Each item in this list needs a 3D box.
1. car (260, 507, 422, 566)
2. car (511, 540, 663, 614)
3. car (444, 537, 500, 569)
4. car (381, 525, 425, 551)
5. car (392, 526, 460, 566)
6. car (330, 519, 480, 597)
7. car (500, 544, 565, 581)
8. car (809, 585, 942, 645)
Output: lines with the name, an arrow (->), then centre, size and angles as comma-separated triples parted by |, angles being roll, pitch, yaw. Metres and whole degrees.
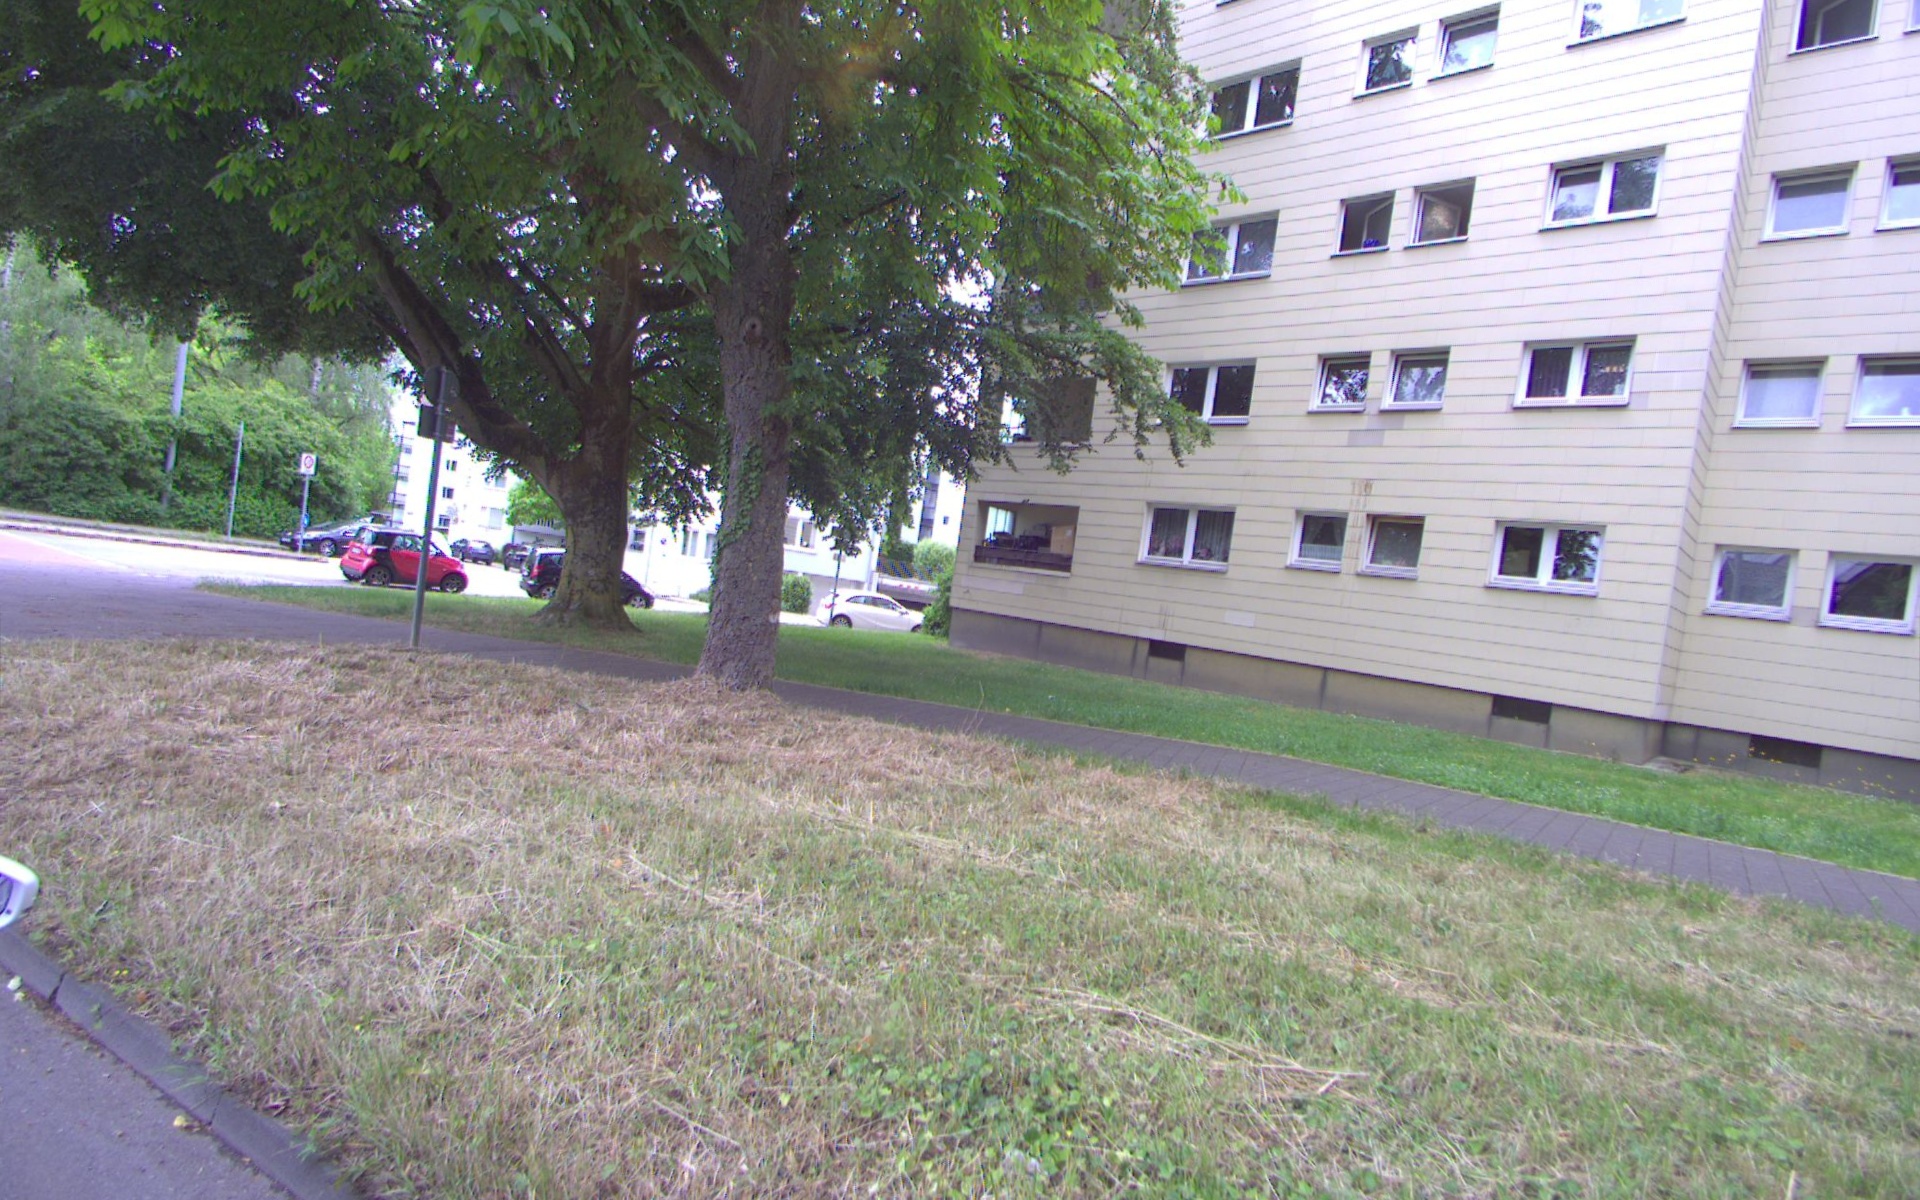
car -> -23.332, -2.370, 38.147 | 2.002, 1.456, 4.798 | 8, 0, 25
car -> -11.078, -0.671, 29.917 | 3.791, 1.610, 1.802 | 9, -1, -34
car -> -30.097, -2.897, 62.006 | 1.922, 1.563, 4.016 | 8, -1, -42
car -> -41.444, -4.600, 74.795 | 1.922, 1.563, 4.016 | 8, -1, -42
car -> -24.914, -2.527, 46.897 | 1.797, 1.505, 3.624 | 8, -1, -44
car -> -14.673, -1.085, 26.683 | 1.669, 1.524, 2.913 | 9, 0, 36
car -> -23.120, -2.036, 54.310 | 1.922, 1.563, 4.016 | 8, -1, -42
car -> -2.827, 0.482, 33.349 | 4.008, 1.452, 1.789 | 7, 1, -15
